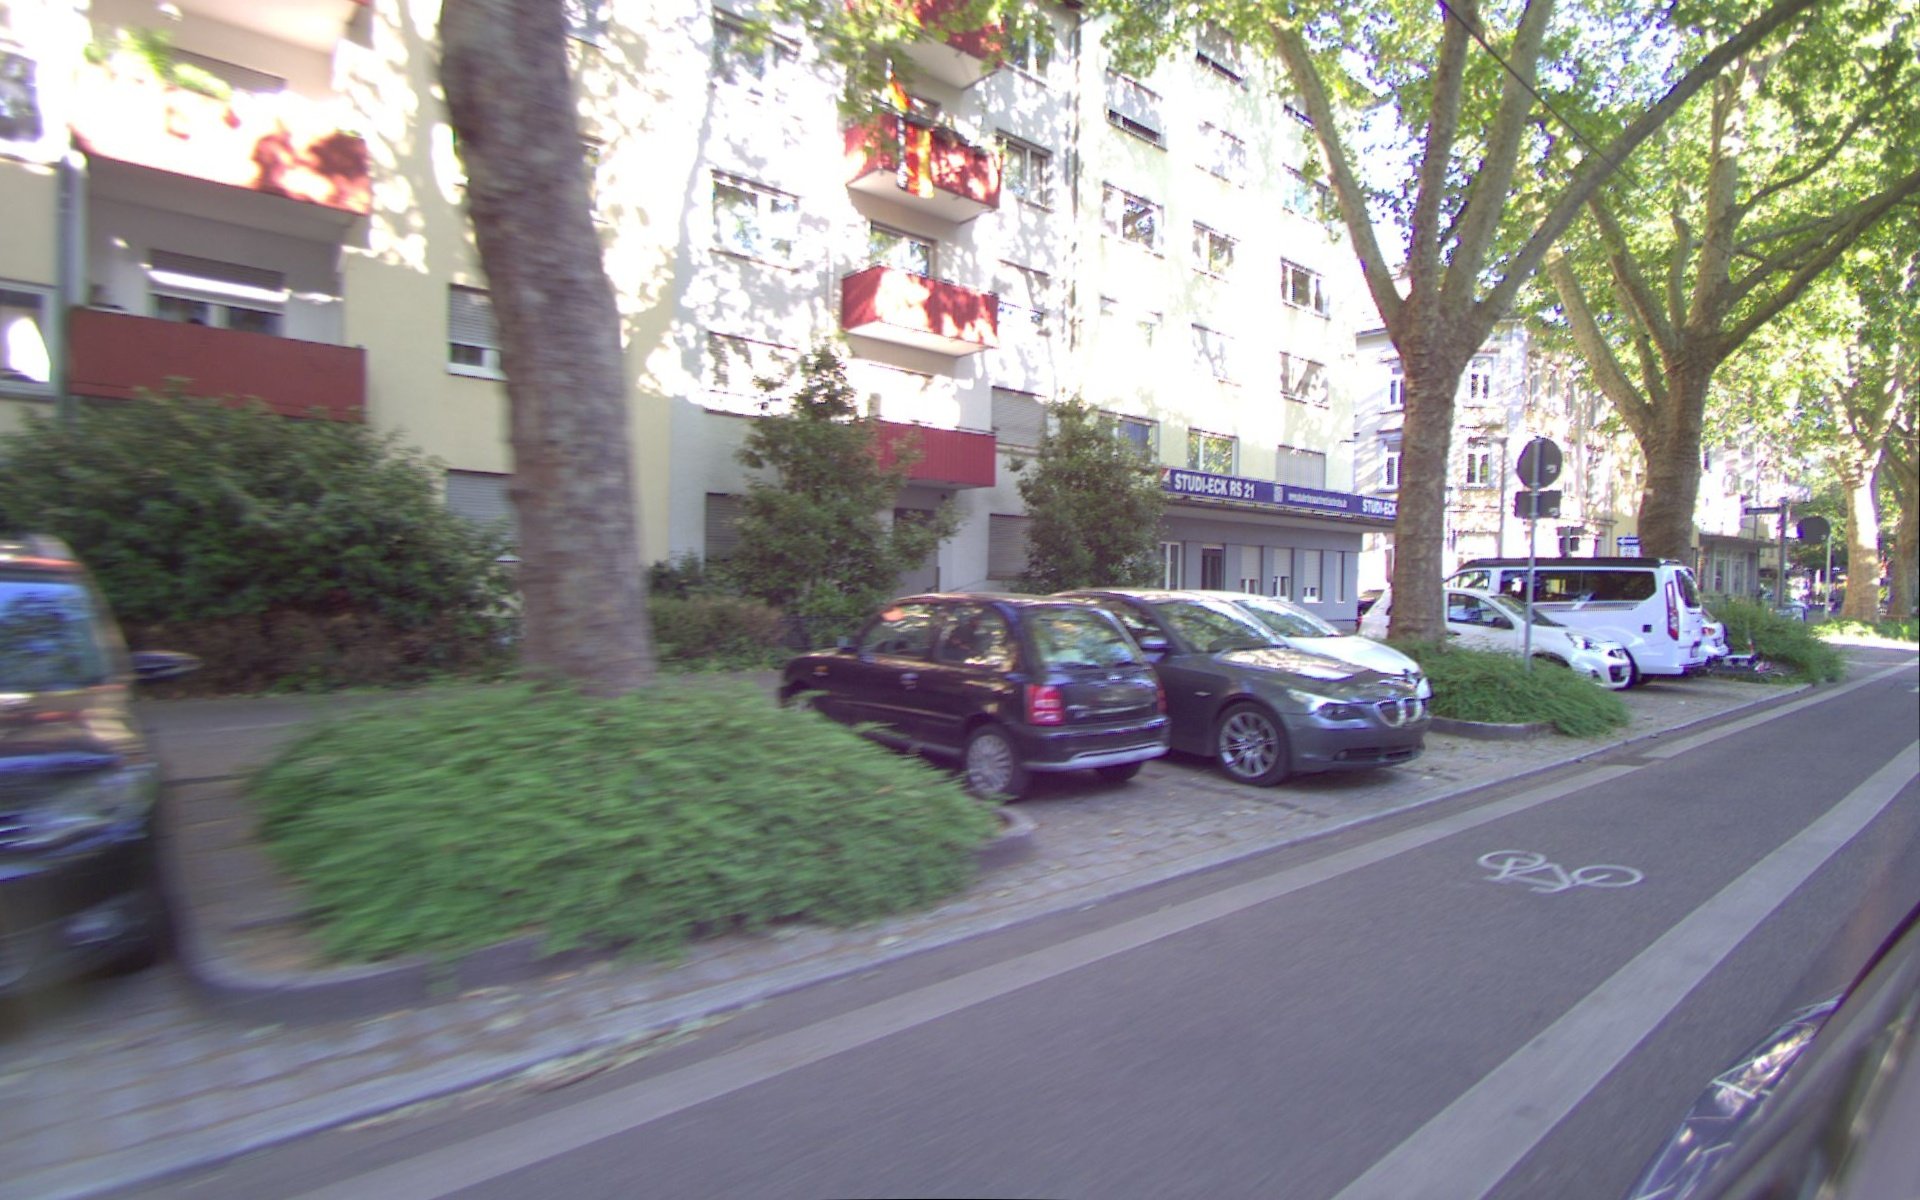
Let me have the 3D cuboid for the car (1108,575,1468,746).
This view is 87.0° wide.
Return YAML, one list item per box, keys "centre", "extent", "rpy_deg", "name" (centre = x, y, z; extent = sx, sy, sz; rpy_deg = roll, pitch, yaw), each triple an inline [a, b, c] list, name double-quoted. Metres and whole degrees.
- centre: [3.527, 0.530, 11.329]
  extent: [1.615, 1.499, 3.482]
  rpy_deg: [0, 3, -40]
  name: "car"

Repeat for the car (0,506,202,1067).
- centre: [-4.578, 0.491, 4.332]
  extent: [1.714, 1.673, 4.296]
  rpy_deg: [0, 2, -43]
  name: "car"

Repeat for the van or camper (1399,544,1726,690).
- centre: [9.986, 0.153, 17.042]
  extent: [1.808, 2.135, 4.381]
  rpy_deg: [0, 2, -44]
  name: "van or camper"

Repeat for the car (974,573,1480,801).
- centre: [2.201, 0.565, 9.348]
  extent: [1.877, 1.499, 4.207]
  rpy_deg: [0, 3, -39]
  name: "car"

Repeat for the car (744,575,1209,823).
- centre: [-0.058, 0.586, 8.387]
  extent: [1.671, 1.461, 3.832]
  rpy_deg: [0, 3, -42]
  name: "car"

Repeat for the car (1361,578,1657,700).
- centre: [8.155, 0.481, 15.240]
  extent: [1.649, 1.550, 3.568]
  rpy_deg: [0, 2, -42]
  name: "car"

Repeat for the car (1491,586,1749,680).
- centre: [11.883, 0.513, 18.402]
  extent: [1.694, 1.457, 3.573]
  rpy_deg: [0, 2, -37]
  name: "car"
